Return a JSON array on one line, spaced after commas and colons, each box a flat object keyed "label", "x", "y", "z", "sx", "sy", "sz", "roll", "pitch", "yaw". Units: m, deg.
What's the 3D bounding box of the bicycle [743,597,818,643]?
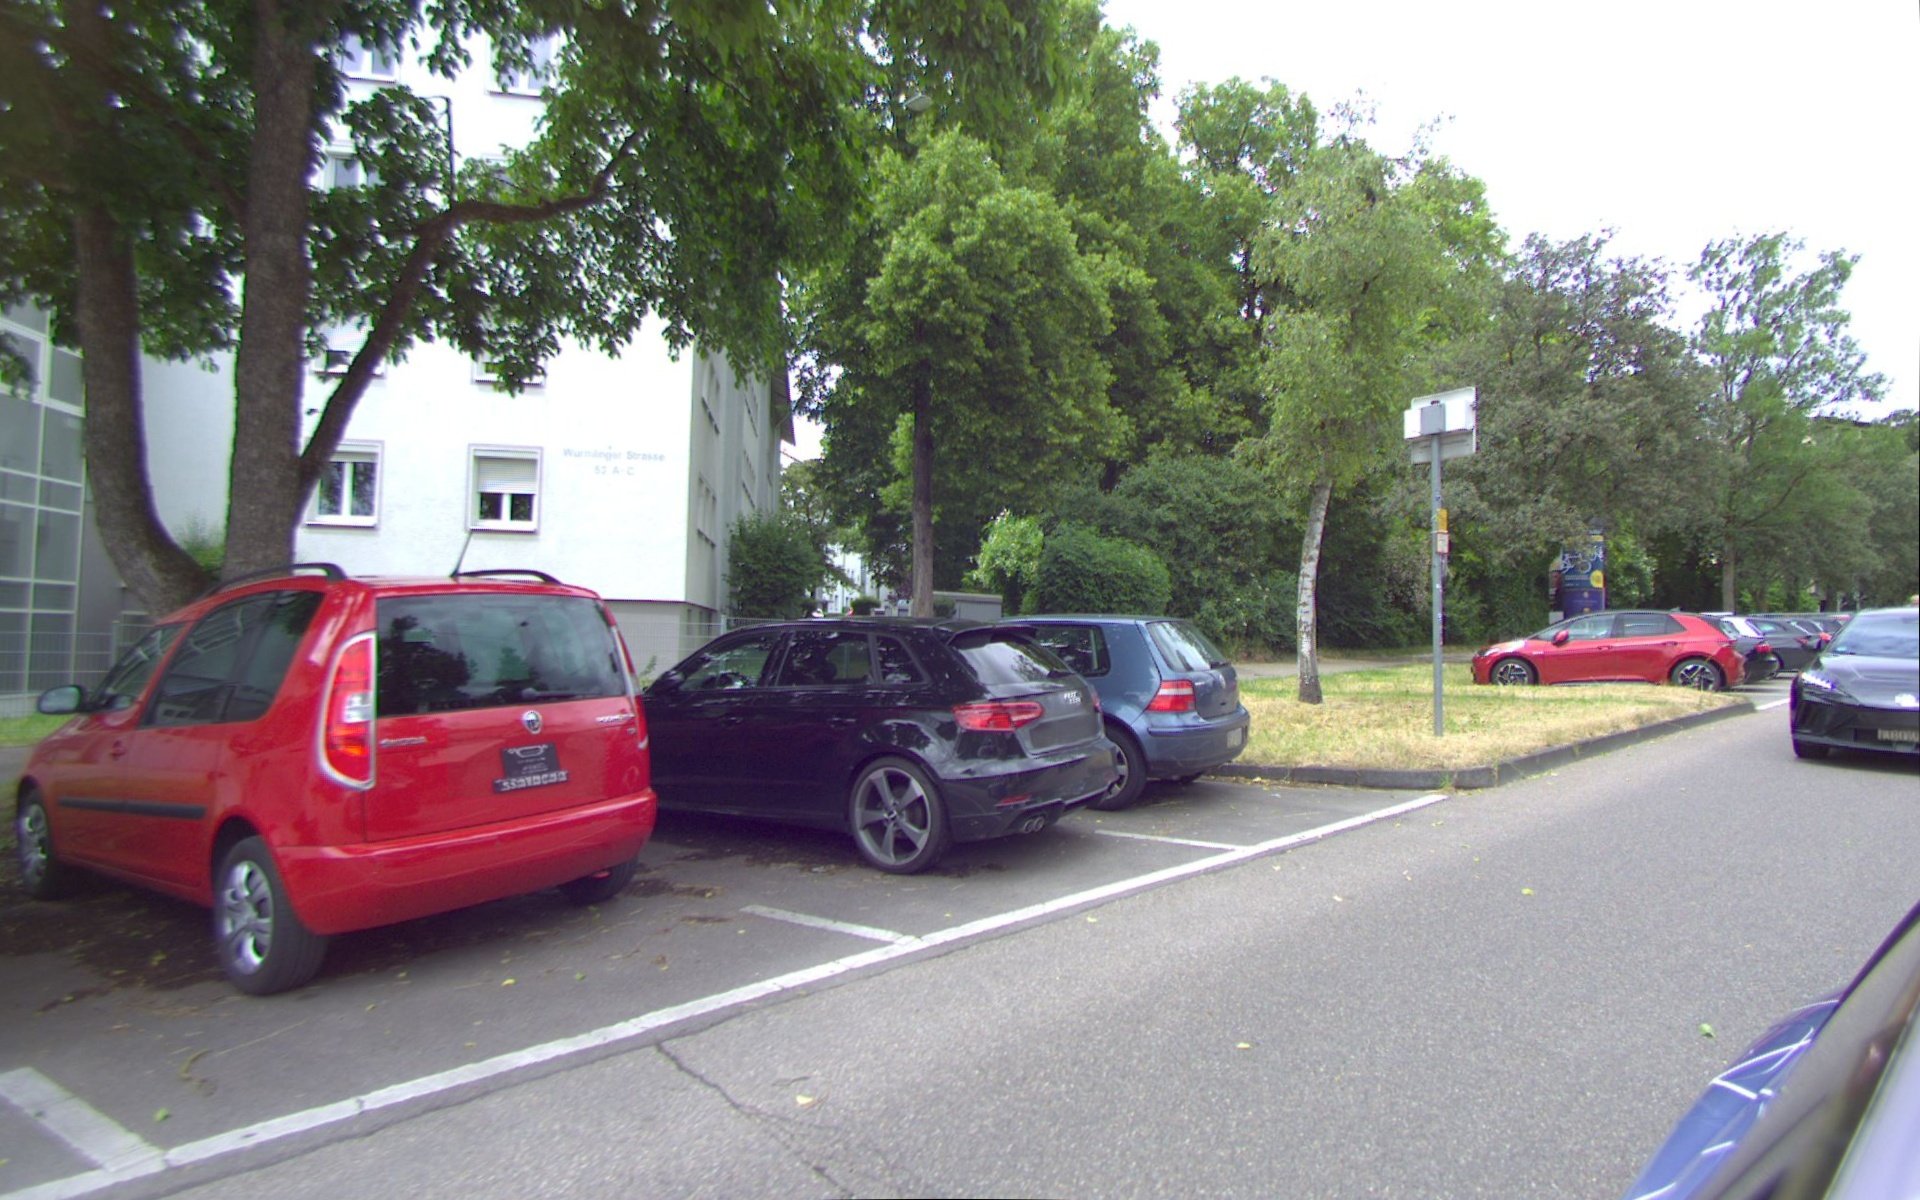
[{"label": "bicycle", "x": -4.419, "y": 0.516, "z": 25.078, "sx": 0.538, "sy": 1.092, "sz": 1.898, "roll": -4, "pitch": -5, "yaw": 42}]

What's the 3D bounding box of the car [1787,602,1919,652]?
[{"label": "car", "x": 32.751, "y": 0.958, "z": 36.846, "sx": 3.978, "sy": 1.747, "sz": 1.657, "roll": -1, "pitch": -1, "yaw": 39}]

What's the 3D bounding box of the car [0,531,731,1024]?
[{"label": "car", "x": -3.274, "y": 0.651, "z": 5.288, "sx": 3.981, "sy": 1.641, "sz": 1.861, "roll": -2, "pitch": -2, "yaw": 34}]

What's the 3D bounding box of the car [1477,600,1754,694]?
[{"label": "car", "x": 11.760, "y": 0.793, "z": 18.432, "sx": 4.053, "sy": 1.535, "sz": 1.713, "roll": -1, "pitch": -1, "yaw": 32}]

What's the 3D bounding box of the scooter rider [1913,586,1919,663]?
[{"label": "scooter rider", "x": 22.354, "y": 0.559, "z": 23.200, "sx": 0.681, "sy": 1.752, "sz": 1.177, "roll": -2, "pitch": -2, "yaw": 45}]

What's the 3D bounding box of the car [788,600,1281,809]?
[{"label": "car", "x": 0.535, "y": 0.778, "z": 8.779, "sx": 3.951, "sy": 1.424, "sz": 1.734, "roll": -2, "pitch": -2, "yaw": 35}]

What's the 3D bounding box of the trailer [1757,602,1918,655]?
[{"label": "trailer", "x": 27.367, "y": 0.907, "z": 31.743, "sx": 3.681, "sy": 1.555, "sz": 1.623, "roll": -2, "pitch": -2, "yaw": 39}]

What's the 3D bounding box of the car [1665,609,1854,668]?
[{"label": "car", "x": 21.228, "y": 1.004, "z": 27.009, "sx": 3.833, "sy": 1.474, "sz": 1.610, "roll": -2, "pitch": -2, "yaw": 40}]

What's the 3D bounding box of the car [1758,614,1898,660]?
[{"label": "car", "x": 28.882, "y": 1.204, "z": 33.799, "sx": 3.417, "sy": 1.464, "sz": 1.538, "roll": -1, "pitch": -1, "yaw": 38}]

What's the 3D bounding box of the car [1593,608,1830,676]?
[{"label": "car", "x": 17.537, "y": 0.970, "z": 23.909, "sx": 4.324, "sy": 1.464, "sz": 1.615, "roll": -1, "pitch": -2, "yaw": 32}]

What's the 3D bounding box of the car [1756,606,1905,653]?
[{"label": "car", "x": 30.530, "y": 1.016, "z": 35.554, "sx": 1.579, "sy": 1.549, "sz": 3.822, "roll": 1, "pitch": -1, "yaw": -44}]

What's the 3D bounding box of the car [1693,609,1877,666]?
[{"label": "car", "x": 23.147, "y": 1.035, "z": 28.588, "sx": 3.902, "sy": 1.506, "sz": 1.596, "roll": -1, "pitch": -2, "yaw": 38}]

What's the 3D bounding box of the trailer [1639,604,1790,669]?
[{"label": "trailer", "x": 19.179, "y": 0.922, "z": 25.827, "sx": 2.978, "sy": 1.562, "sz": 1.285, "roll": -1, "pitch": -3, "yaw": 37}]

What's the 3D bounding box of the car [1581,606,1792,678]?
[{"label": "car", "x": 15.786, "y": 0.893, "z": 22.187, "sx": 3.597, "sy": 1.464, "sz": 1.613, "roll": -1, "pitch": -2, "yaw": 35}]

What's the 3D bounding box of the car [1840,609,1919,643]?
[{"label": "car", "x": 41.706, "y": 1.143, "z": 45.167, "sx": 3.515, "sy": 1.495, "sz": 1.570, "roll": -1, "pitch": -2, "yaw": 38}]

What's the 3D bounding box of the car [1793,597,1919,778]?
[{"label": "car", "x": 9.976, "y": 0.784, "z": 10.154, "sx": 4.223, "sy": 1.570, "sz": 1.802, "roll": 1, "pitch": -1, "yaw": -41}]

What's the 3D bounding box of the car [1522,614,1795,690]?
[{"label": "car", "x": 13.797, "y": 0.986, "z": 20.216, "sx": 4.300, "sy": 1.358, "sz": 1.711, "roll": -1, "pitch": -2, "yaw": 37}]

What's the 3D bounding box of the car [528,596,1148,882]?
[{"label": "car", "x": -0.937, "y": 0.757, "z": 6.887, "sx": 4.009, "sy": 1.424, "sz": 1.736, "roll": -2, "pitch": -2, "yaw": 32}]

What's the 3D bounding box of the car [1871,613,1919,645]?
[{"label": "car", "x": 45.892, "y": 1.362, "z": 47.768, "sx": 4.127, "sy": 1.495, "sz": 1.554, "roll": -1, "pitch": -2, "yaw": 39}]
